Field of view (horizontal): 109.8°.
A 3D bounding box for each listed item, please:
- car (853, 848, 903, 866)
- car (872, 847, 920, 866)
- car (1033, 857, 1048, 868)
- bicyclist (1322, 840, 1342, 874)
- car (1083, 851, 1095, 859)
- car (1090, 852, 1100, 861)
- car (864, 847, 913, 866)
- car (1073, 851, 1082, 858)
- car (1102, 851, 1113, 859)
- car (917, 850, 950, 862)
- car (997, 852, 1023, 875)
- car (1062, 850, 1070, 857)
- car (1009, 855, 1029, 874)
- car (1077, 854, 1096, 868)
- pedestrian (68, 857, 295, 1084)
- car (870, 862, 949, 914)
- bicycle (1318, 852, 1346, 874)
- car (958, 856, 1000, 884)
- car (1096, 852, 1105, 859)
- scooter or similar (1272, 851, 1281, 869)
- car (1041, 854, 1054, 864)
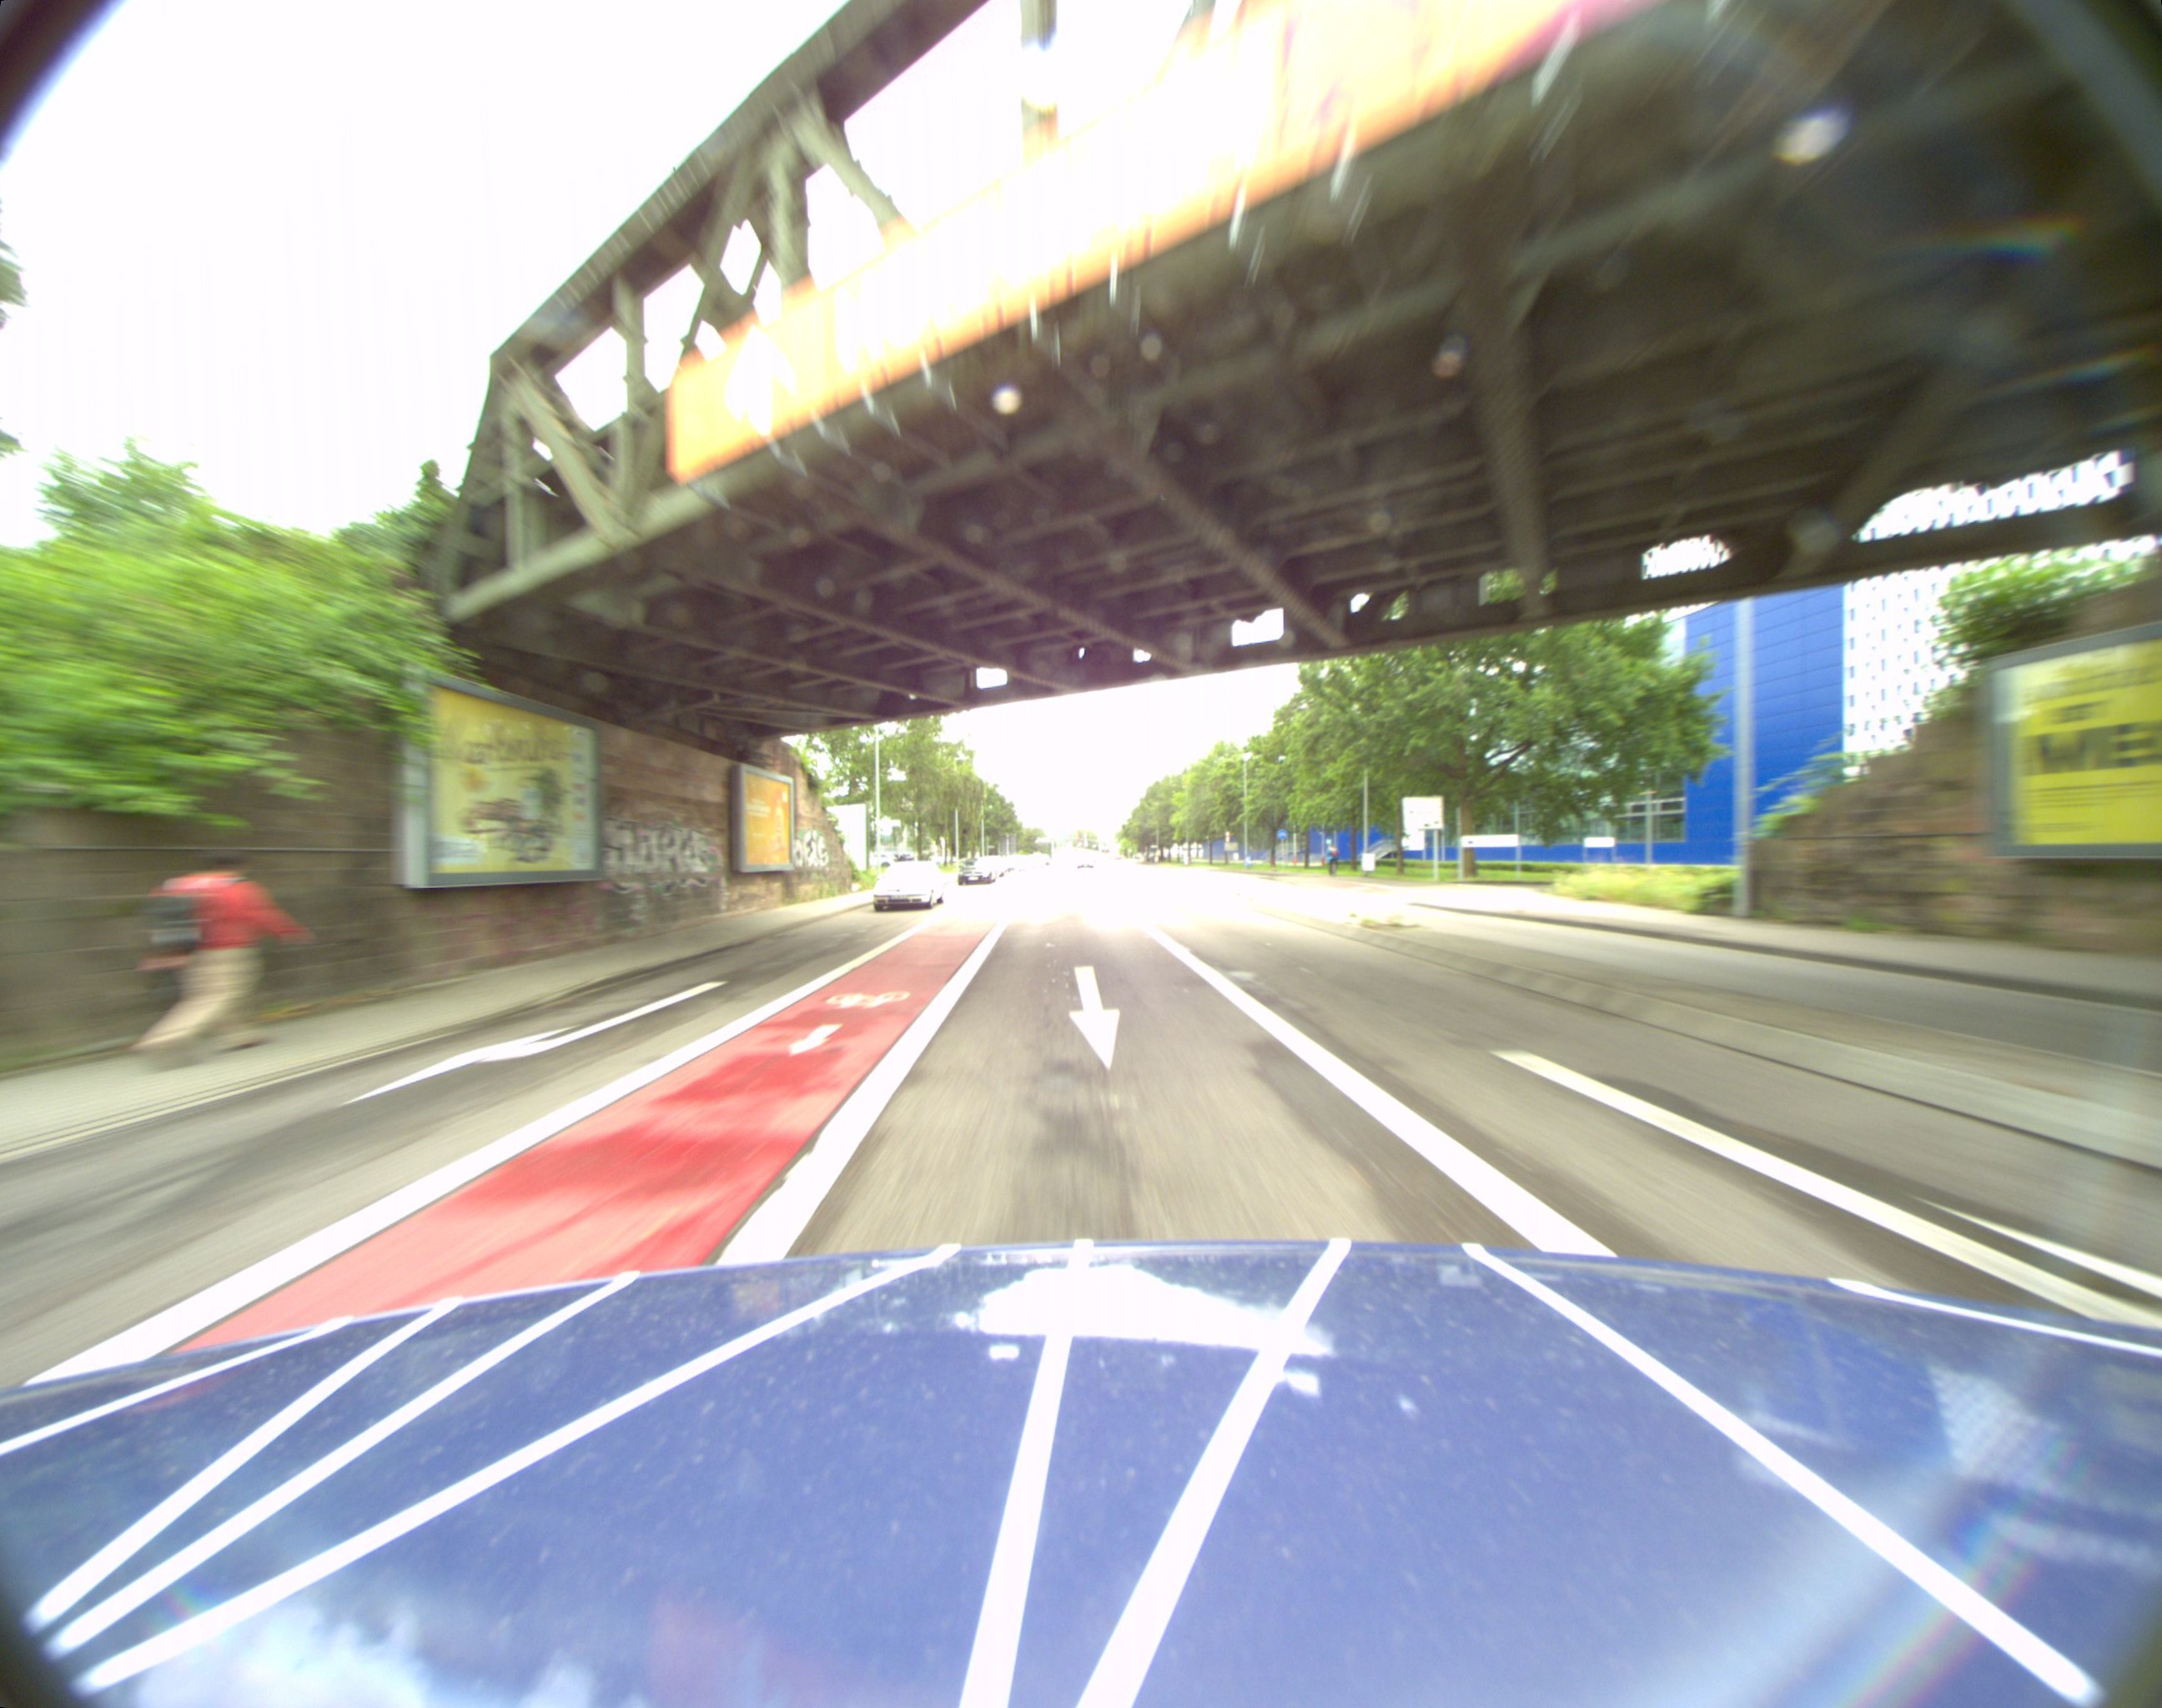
[{"bbox_3d":[-18.836,0.260,70.656,4.311,1.481,1.739,-2,0,-8],"label":"car"},{"bbox_3d":[-18.810,0.249,77.399,4.309,1.592,1.969,-4,0,-1],"label":"car"},{"bbox_3d":[-5.420,1.104,101.886,1.837,1.416,3.999,-2,0,-2],"label":"car"},{"bbox_3d":[14.188,0.160,42.952,0.703,1.864,1.019,-2,1,-2],"label":"bicyclist"},{"bbox_3d":[1.653,0.224,154.387,1.823,1.577,4.511,1,0,-6],"label":"car"},{"bbox_3d":[3.088,0.588,168.206,1.772,1.913,4.907,0,0,-4],"label":"car"},{"bbox_3d":[-18.924,0.256,74.708,4.310,1.592,1.968,-4,0,-4],"label":"car"},{"bbox_3d":[-0.838,0.198,194.120,1.651,1.788,3.978,2,0,-8],"label":"car"},{"bbox_3d":[5.199,0.170,149.676,1.681,1.420,3.649,1,0,-5],"label":"car"},{"bbox_3d":[-20.187,0.313,104.261,4.199,1.423,1.739,-4,0,-2],"label":"car"},{"bbox_3d":[-5.312,0.693,56.404,1.788,1.637,3.997,-1,0,-8],"label":"car"},{"bbox_3d":[-3.854,-0.028,194.406,1.651,1.788,3.978,1,0,-9],"label":"car"},{"bbox_3d":[-6.253,0.998,76.560,1.995,1.838,4.102,-1,0,-5],"label":"car"},{"bbox_3d":[0.605,0.707,82.270,1.837,1.416,3.999,-2,0,-2],"label":"car"},{"bbox_3d":[-7.409,0.906,6.311,0.874,1.749,0.787,-1,1,-4],"label":"pedestrian"},{"bbox_3d":[-5.359,1.004,24.210,1.726,1.416,3.940,-2,0,-2],"label":"car"},{"bbox_3d":[14.198,0.500,42.986,0.715,1.180,2.370,-2,1,-2],"label":"bicycle"},{"bbox_3d":[-5.539,0.839,41.765,1.837,1.416,3.999,-2,0,-2],"label":"car"},{"bbox_3d":[4.080,0.379,158.609,1.628,1.414,3.610,0,0,-3],"label":"car"},{"bbox_3d":[15.106,0.460,58.705,0.448,1.314,1.506,-1,0,8],"label":"scooter or similar"},{"bbox_3d":[-5.192,0.814,118.594,1.837,1.416,3.999,-2,0,-2],"label":"car"}]
